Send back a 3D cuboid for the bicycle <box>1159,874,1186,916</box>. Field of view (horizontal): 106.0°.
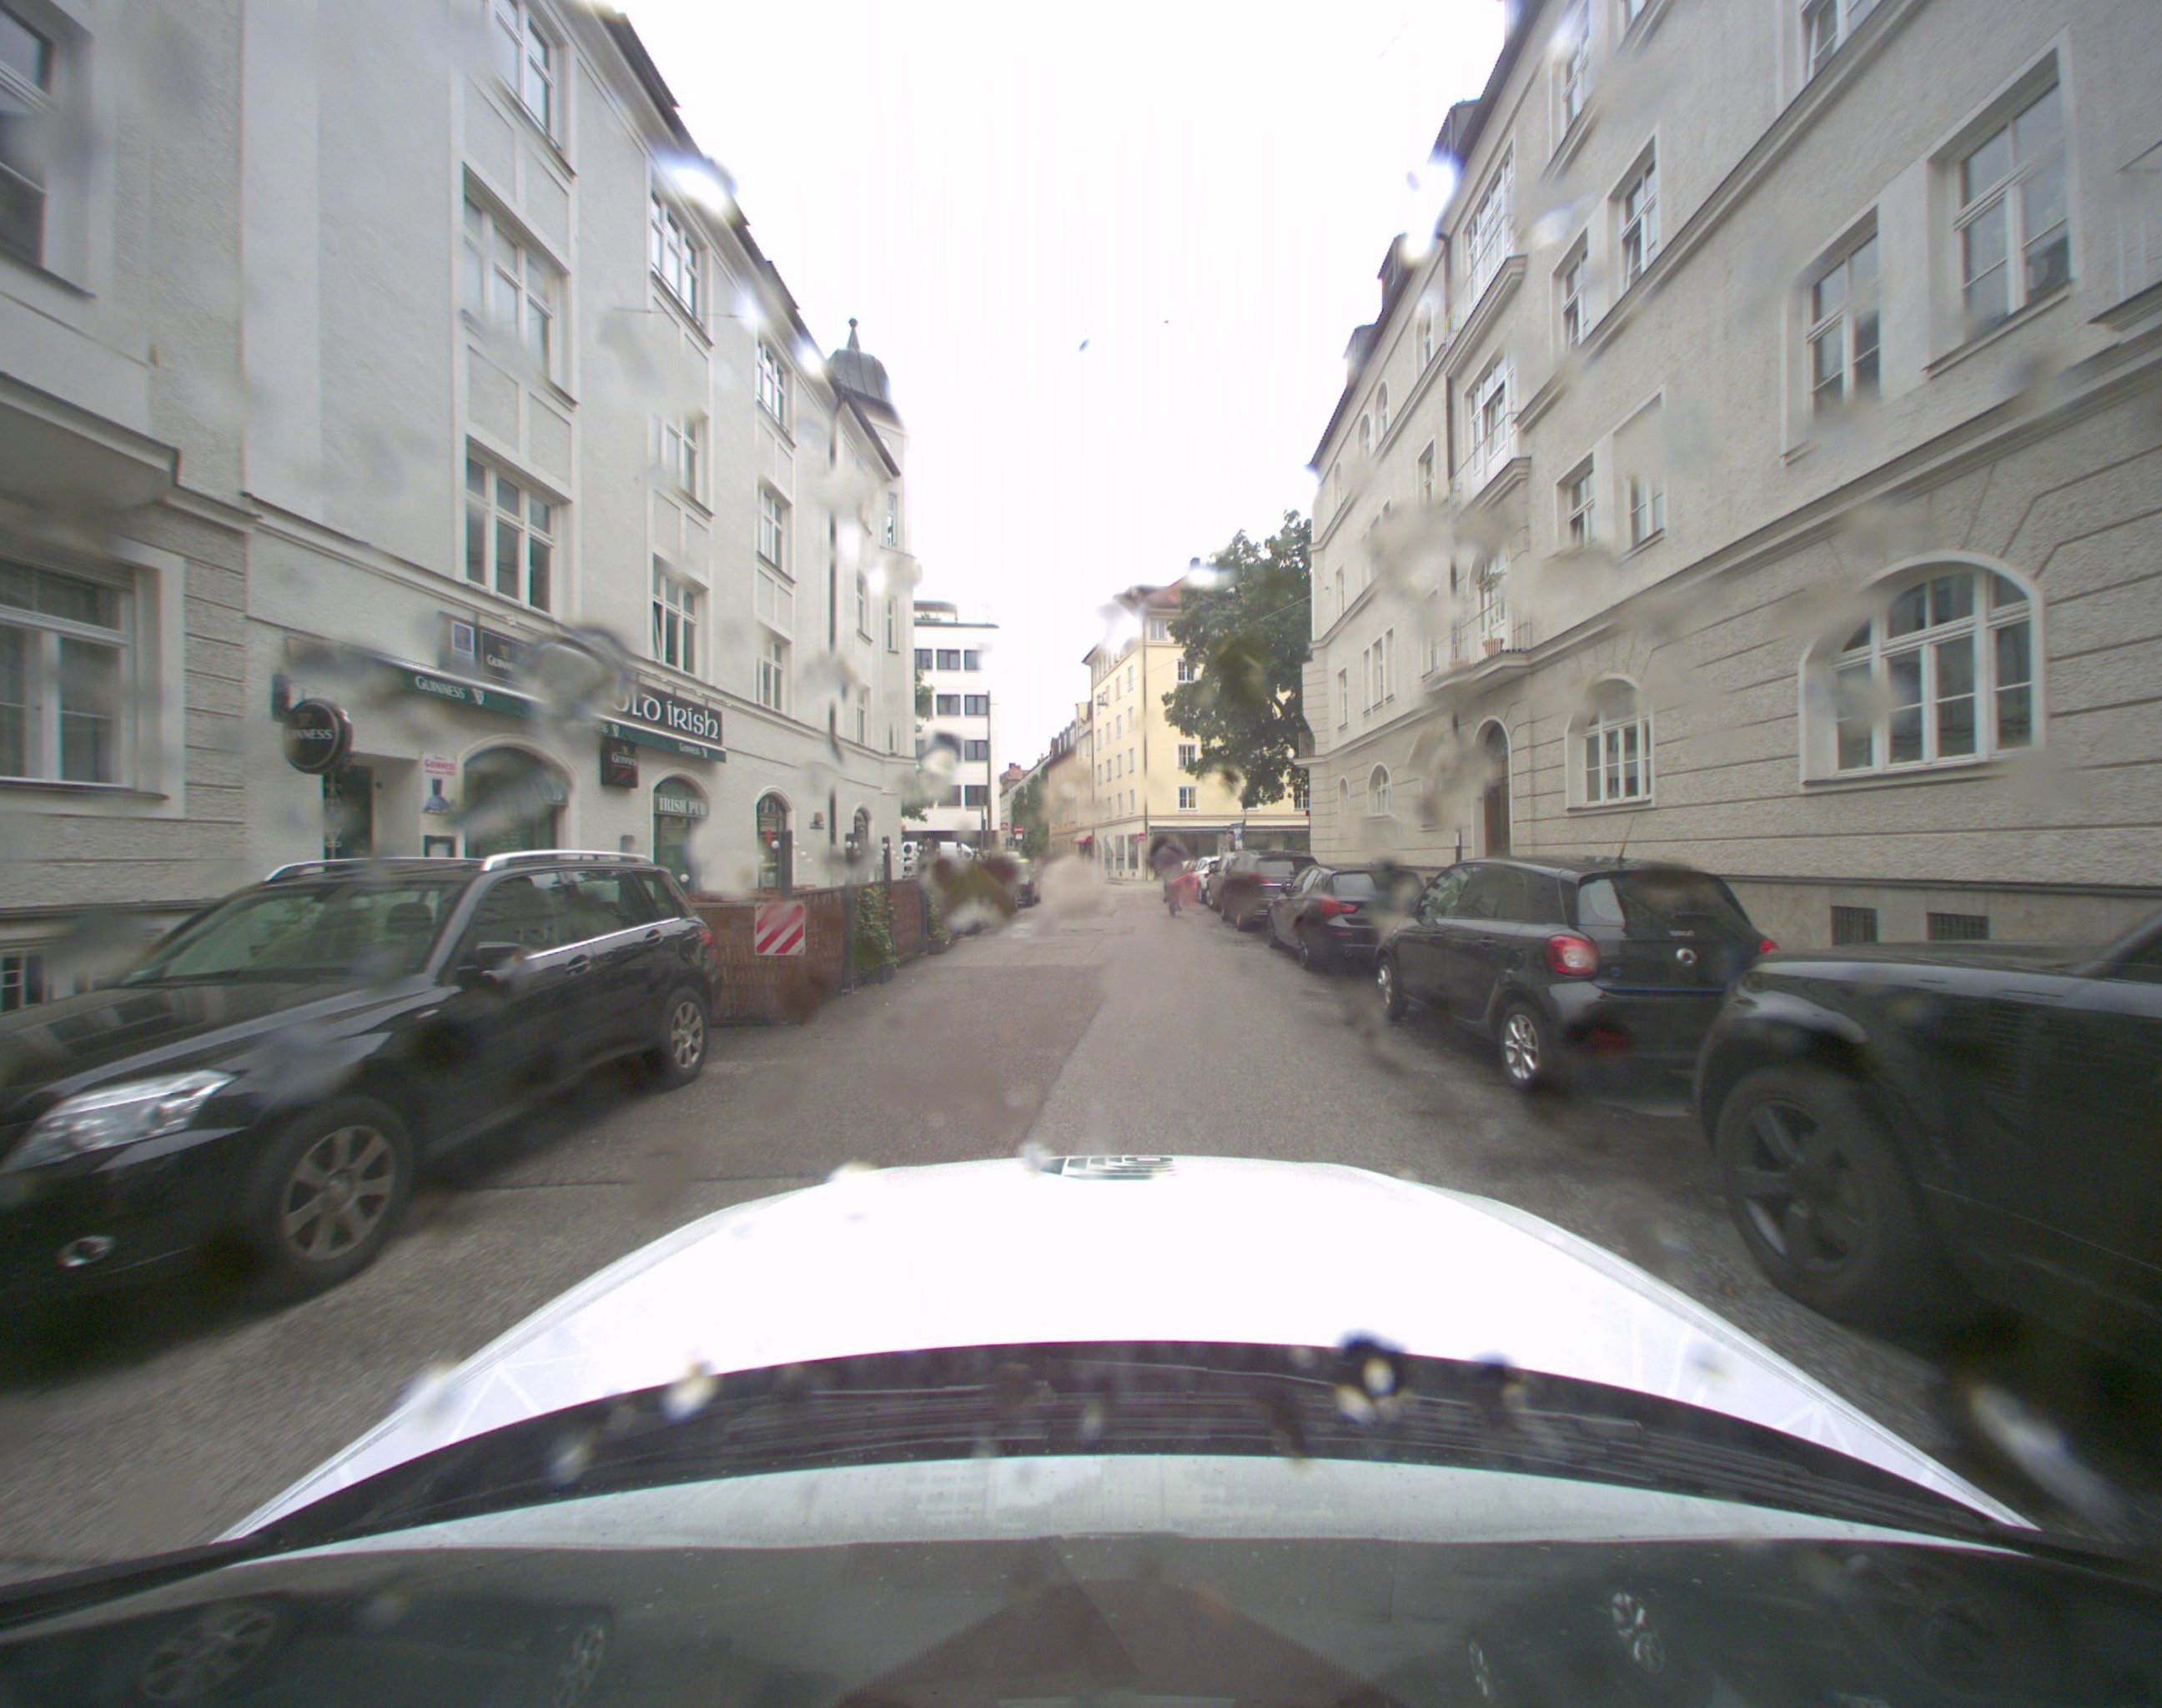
[{"bbox_3d":[2.337,1.037,20.897,0.636,1.004,1.576,0,-1,4],"label":"bicycle"}]

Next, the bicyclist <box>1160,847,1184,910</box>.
[{"bbox_3d":[2.335,0.616,20.976,0.603,1.606,0.758,0,0,4],"label":"bicyclist"}]

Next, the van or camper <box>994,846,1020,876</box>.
[{"bbox_3d":[-6.579,0.598,72.166,1.993,2.540,4.744,0,-1,-10],"label":"van or camper"}]

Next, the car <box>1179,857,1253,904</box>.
[{"bbox_3d":[4.575,0.860,28.108,1.746,1.496,3.906,0,-1,-2],"label":"car"}]

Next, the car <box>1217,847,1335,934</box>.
[{"bbox_3d":[4.112,0.709,17.883,1.769,1.636,4.379,1,0,3],"label":"car"}]

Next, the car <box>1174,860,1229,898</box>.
[{"bbox_3d":[4.851,0.982,33.353,1.663,1.435,4.214,1,0,1],"label":"car"}]

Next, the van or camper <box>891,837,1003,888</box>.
[{"bbox_3d":[-7.236,0.486,44.516,5.900,2.677,1.868,0,-2,-8],"label":"van or camper"}]

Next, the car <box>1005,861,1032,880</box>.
[{"bbox_3d":[-5.150,1.317,66.575,1.833,1.535,3.985,0,-1,-11],"label":"car"}]

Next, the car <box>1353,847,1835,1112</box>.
[{"bbox_3d":[3.604,0.737,6.571,1.649,1.525,3.637,1,0,1],"label":"car"}]

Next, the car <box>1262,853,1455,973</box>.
[{"bbox_3d":[3.872,0.731,12.115,1.699,1.471,4.205,0,0,4],"label":"car"}]

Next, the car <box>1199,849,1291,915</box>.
[{"bbox_3d":[4.627,0.745,23.555,1.784,1.713,4.425,0,0,0],"label":"car"}]

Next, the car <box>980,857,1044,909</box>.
[{"bbox_3d":[-2.325,0.962,28.234,1.670,1.597,3.947,-2,-1,2],"label":"car"}]

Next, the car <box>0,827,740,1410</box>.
[{"bbox_3d":[-3.676,0.808,4.491,1.741,1.673,4.274,-3,0,-1],"label":"car"}]

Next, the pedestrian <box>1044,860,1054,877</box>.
[{"bbox_3d":[-3.316,1.482,84.632,0.878,1.778,0.771,0,-1,-11],"label":"pedestrian"}]

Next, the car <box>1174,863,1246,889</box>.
[{"bbox_3d":[7.498,1.272,47.647,3.971,1.416,1.821,0,-4,2],"label":"car"}]

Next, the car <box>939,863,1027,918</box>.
[{"bbox_3d":[-2.714,0.982,23.413,1.699,1.390,4.005,-2,-1,4],"label":"car"}]

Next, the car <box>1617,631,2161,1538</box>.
[{"bbox_3d":[3.210,0.500,1.071,1.904,1.885,4.713,2,0,0],"label":"car"}]
